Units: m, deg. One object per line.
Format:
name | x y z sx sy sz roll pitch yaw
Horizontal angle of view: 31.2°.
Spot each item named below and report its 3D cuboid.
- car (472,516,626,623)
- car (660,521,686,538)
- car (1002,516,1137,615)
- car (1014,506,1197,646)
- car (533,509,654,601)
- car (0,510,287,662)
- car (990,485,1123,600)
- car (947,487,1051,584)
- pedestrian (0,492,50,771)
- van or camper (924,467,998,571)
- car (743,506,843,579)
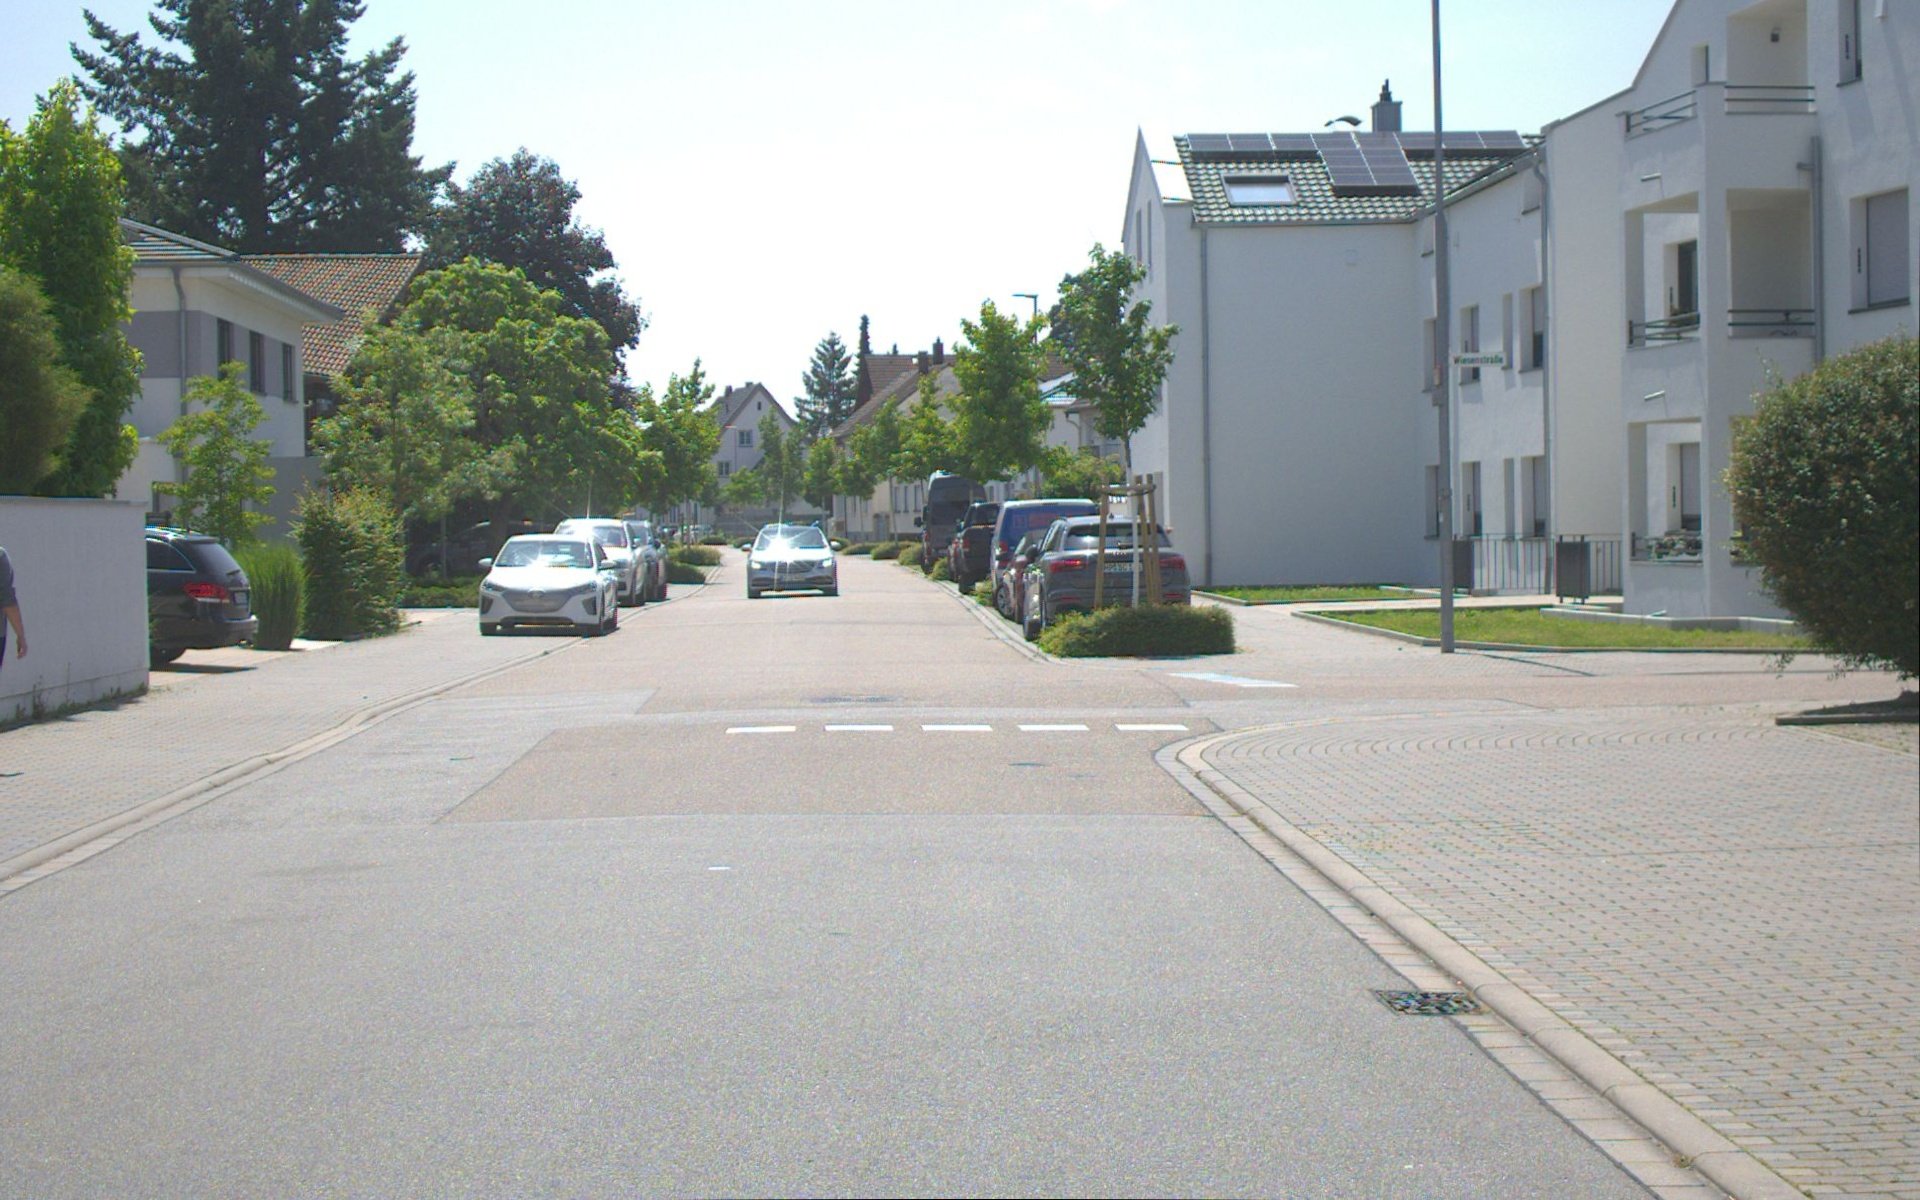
car | -6.093 -0.491 51.410 1.852 1.483 4.386 -1 2 -1
car | -21.133 -5.199 253.303 1.663 1.246 3.932 -1 1 -2
car | 1.649 -0.562 53.111 1.679 1.436 4.027 -1 2 -4
car | 1.762 -0.343 43.007 1.773 1.590 4.280 -3 2 -4
car | -7.045 -0.901 66.405 1.927 1.681 4.499 -1 2 -1
car | -9.741 -0.197 37.320 4.429 1.468 1.850 2 1 3
car | 1.636 -1.021 59.757 2.099 1.875 4.843 -1 1 0
car | 0.807 -1.413 73.942 1.993 1.940 5.215 -2 2 -1
pedestrian | -6.301 0.189 21.937 0.714 1.741 0.961 -1 1 -1
van or camper | 0.001 -2.326 98.894 1.993 2.931 4.001 0 1 -2
car | -3.527 -1.247 73.275 1.853 1.473 4.700 -1 2 0
